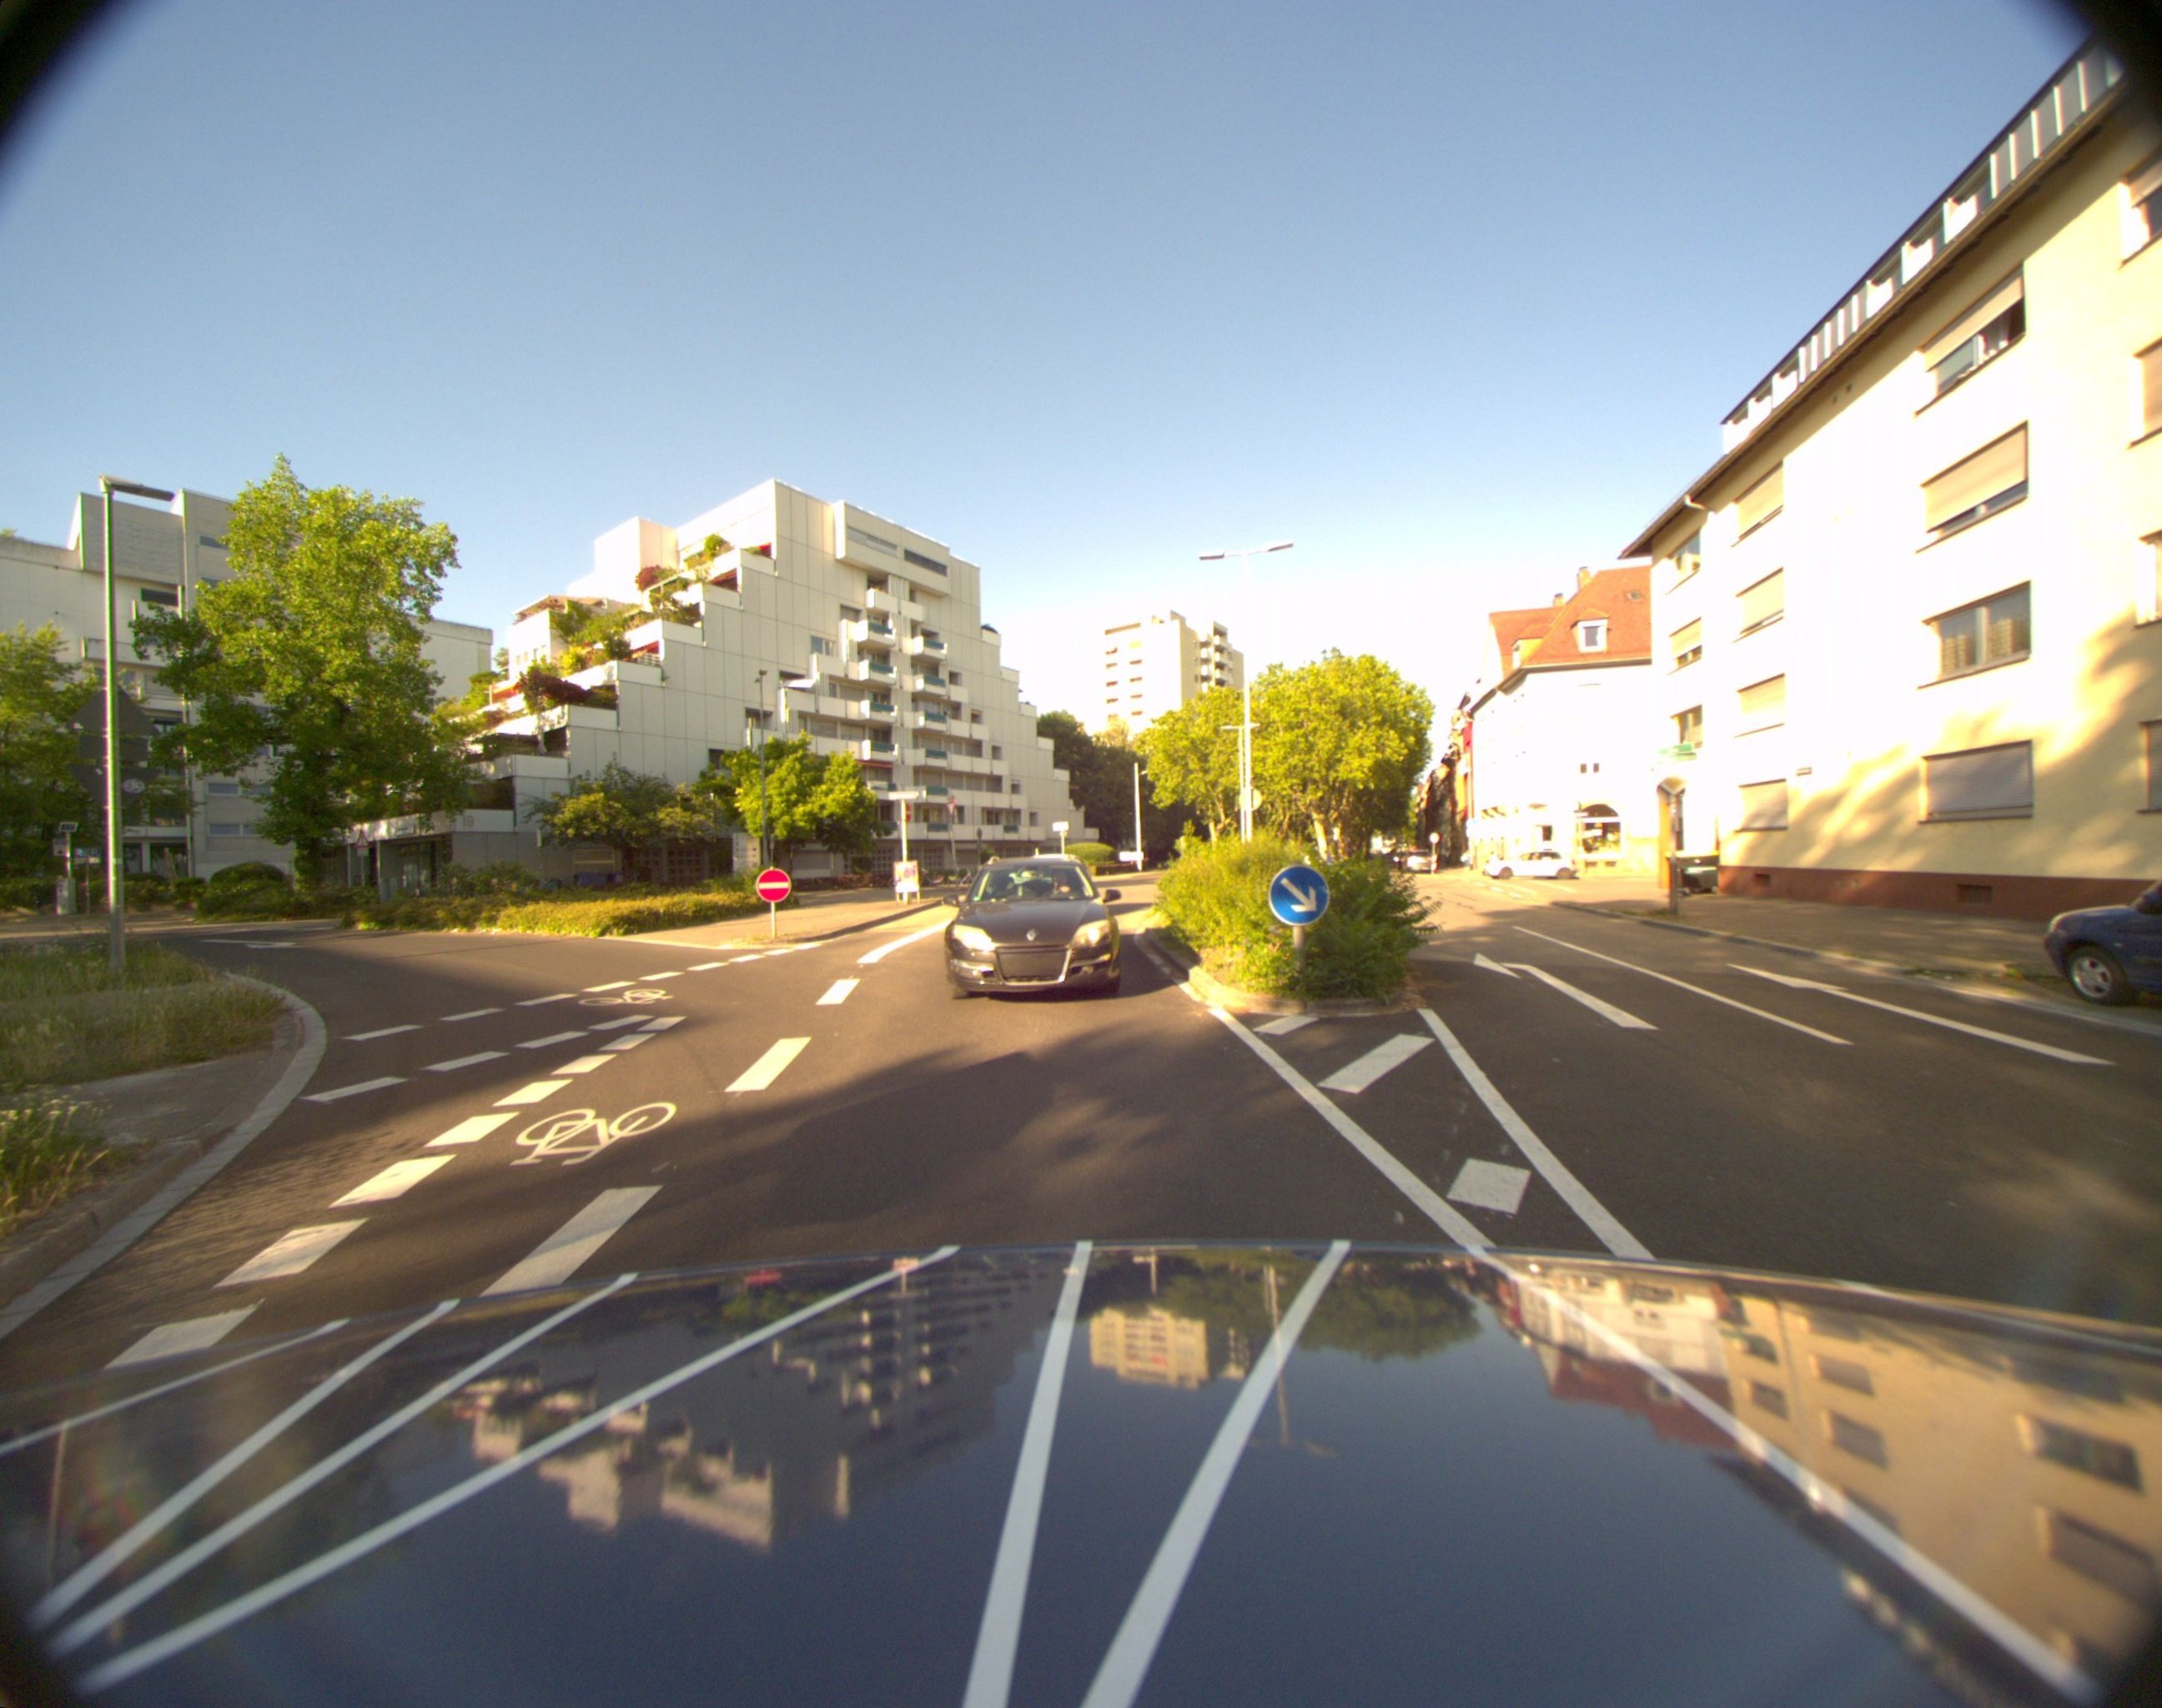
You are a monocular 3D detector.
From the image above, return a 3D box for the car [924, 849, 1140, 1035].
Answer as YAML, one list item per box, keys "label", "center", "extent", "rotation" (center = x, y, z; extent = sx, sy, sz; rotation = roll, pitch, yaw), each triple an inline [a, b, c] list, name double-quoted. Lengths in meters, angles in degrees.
- label: "car"
  center: [-0.666, 0.797, 9.013]
  extent: [1.845, 1.536, 4.521]
  rotation: [-3, 0, -6]

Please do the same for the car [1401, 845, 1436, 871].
- label: "car"
  center: [23.953, 0.246, 54.031]
  extent: [1.895, 1.782, 4.005]
  rotation: [-1, 0, 18]

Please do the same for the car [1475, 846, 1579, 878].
- label: "car"
  center: [22.221, 0.393, 37.992]
  extent: [4.197, 1.502, 1.803]
  rotation: [-1, 0, 19]

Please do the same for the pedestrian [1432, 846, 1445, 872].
- label: "pedestrian"
  center: [22.903, 0.315, 48.672]
  extent: [0.672, 1.702, 0.714]
  rotation: [-1, 1, 26]

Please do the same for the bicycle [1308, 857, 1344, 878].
- label: "bicycle"
  center: [13.388, 0.723, 41.572]
  extent: [1.866, 1.083, 0.628]
  rotation: [-1, 1, 15]

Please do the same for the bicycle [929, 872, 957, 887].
- label: "bicycle"
  center: [-8.046, 1.487, 44.349]
  extent: [1.576, 0.780, 0.464]
  rotation: [-1, 1, -7]

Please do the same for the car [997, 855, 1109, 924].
- label: "car"
  center: [-0.560, 0.786, 18.206]
  extent: [1.652, 1.445, 3.539]
  rotation: [-1, 0, 16]

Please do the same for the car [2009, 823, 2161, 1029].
- label: "car"
  center: [10.215, 0.620, 6.020]
  extent: [1.666, 1.808, 4.010]
  rotation: [-3, 0, 18]

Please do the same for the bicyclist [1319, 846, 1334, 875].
- label: "bicyclist"
  center: [13.410, 0.358, 41.548]
  extent: [0.750, 1.544, 0.631]
  rotation: [-1, 1, 16]

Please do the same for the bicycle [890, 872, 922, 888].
- label: "bicycle"
  center: [-9.942, 1.486, 43.222]
  extent: [1.703, 0.833, 0.463]
  rotation: [-1, 1, -39]

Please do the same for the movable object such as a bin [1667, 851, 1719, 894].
- label: "movable object such as a bin"
  center: [18.693, 0.561, 23.233]
  extent: [1.033, 1.278, 1.064]
  rotation: [-1, 1, 28]
